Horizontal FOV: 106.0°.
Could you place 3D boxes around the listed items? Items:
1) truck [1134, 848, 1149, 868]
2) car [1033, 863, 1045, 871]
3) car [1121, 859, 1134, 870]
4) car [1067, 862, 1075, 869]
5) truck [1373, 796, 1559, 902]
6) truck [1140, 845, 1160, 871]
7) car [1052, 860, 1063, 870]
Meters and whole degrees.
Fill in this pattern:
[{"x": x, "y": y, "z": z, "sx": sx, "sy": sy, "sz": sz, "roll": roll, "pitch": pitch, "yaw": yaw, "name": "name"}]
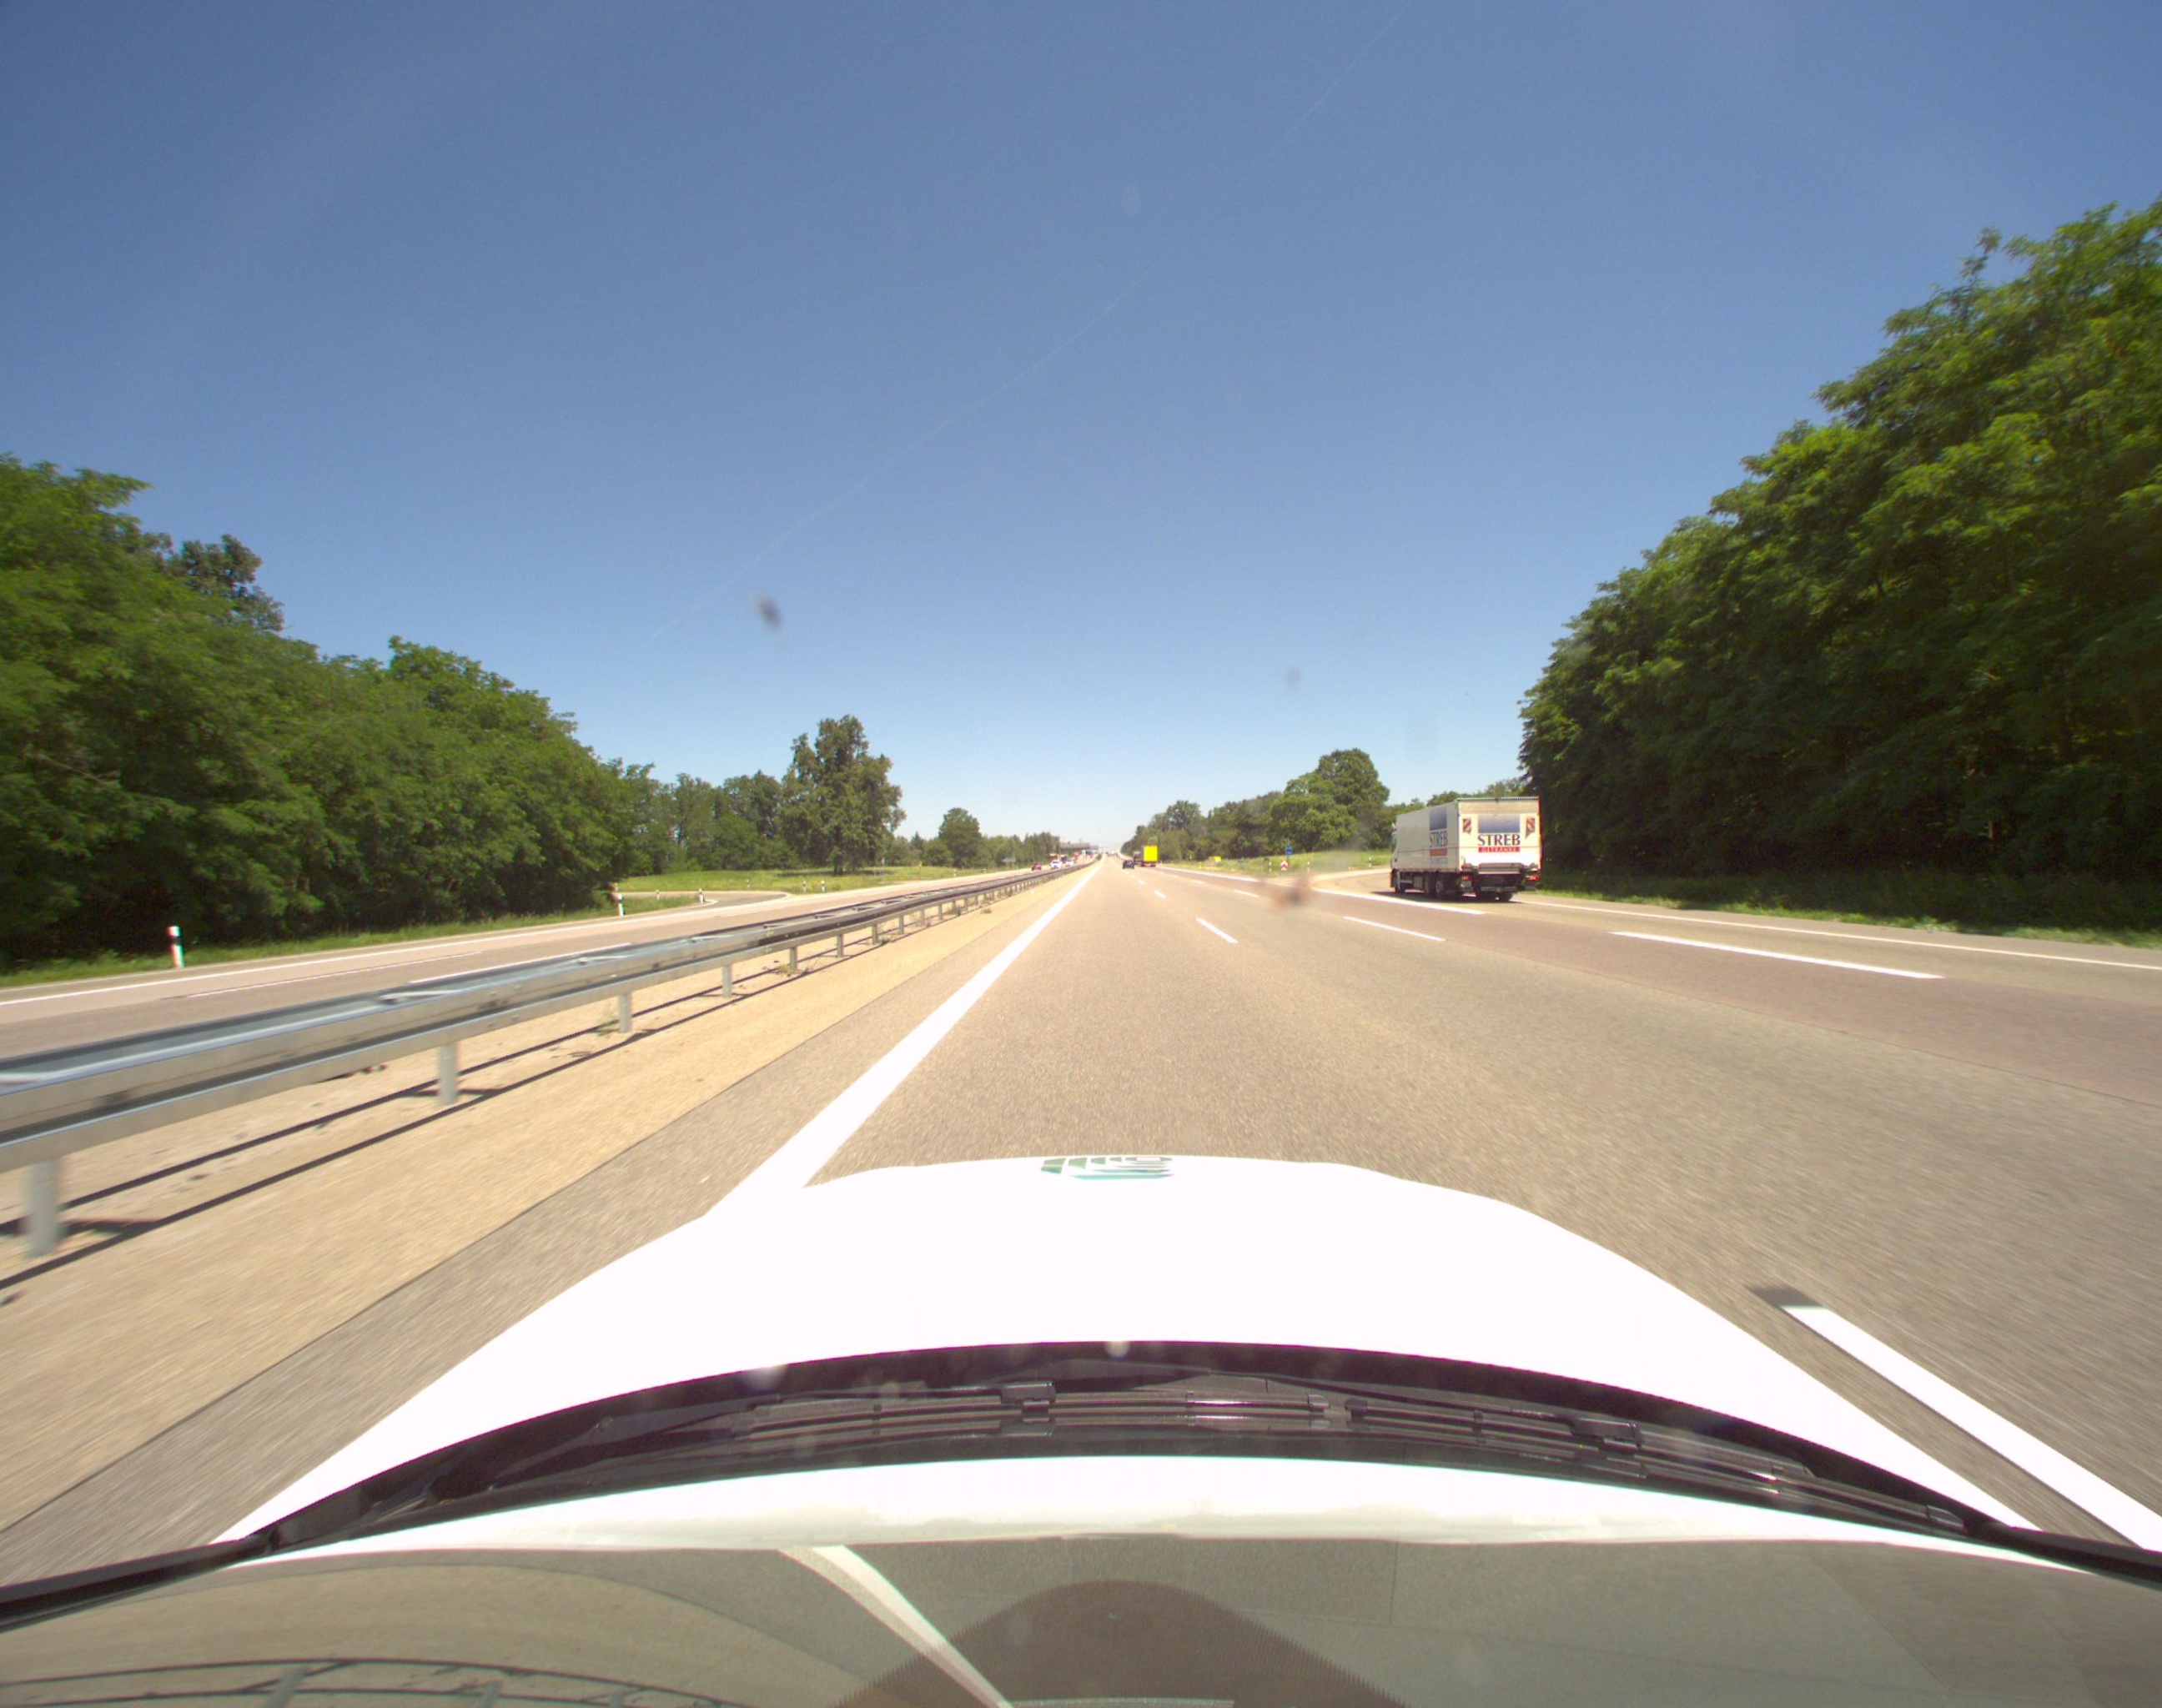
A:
[{"x": 15.472, "y": 1.105, "z": 209.468, "sx": 3.353, "sy": 4.881, "sz": 15.095, "roll": 0, "pitch": 0, "yaw": 3, "name": "truck"}, {"x": -8.094, "y": 2.545, "z": 156.986, "sx": 1.756, "sy": 1.495, "sz": 4.076, "roll": -3, "pitch": -1, "yaw": 2, "name": "car"}, {"x": 7.262, "y": 1.625, "z": 126.763, "sx": 1.820, "sy": 1.706, "sz": 4.001, "roll": 0, "pitch": -1, "yaw": 1, "name": "car"}, {"x": -2.574, "y": 2.973, "z": 207.050, "sx": 1.804, "sy": 1.692, "sz": 5.127, "roll": -2, "pitch": -1, "yaw": 2, "name": "car"}, {"x": 14.053, "y": -0.111, "z": 31.069, "sx": 3.013, "sy": 3.319, "sz": 10.788, "roll": 0, "pitch": 0, "yaw": 6, "name": "truck"}, {"x": 13.679, "y": 0.765, "z": 162.794, "sx": 3.363, "sy": 4.881, "sz": 15.095, "roll": 0, "pitch": 0, "yaw": 3, "name": "truck"}, {"x": -4.227, "y": 1.941, "z": 147.118, "sx": 1.756, "sy": 1.692, "sz": 4.821, "roll": -2, "pitch": -1, "yaw": 2, "name": "car"}]
